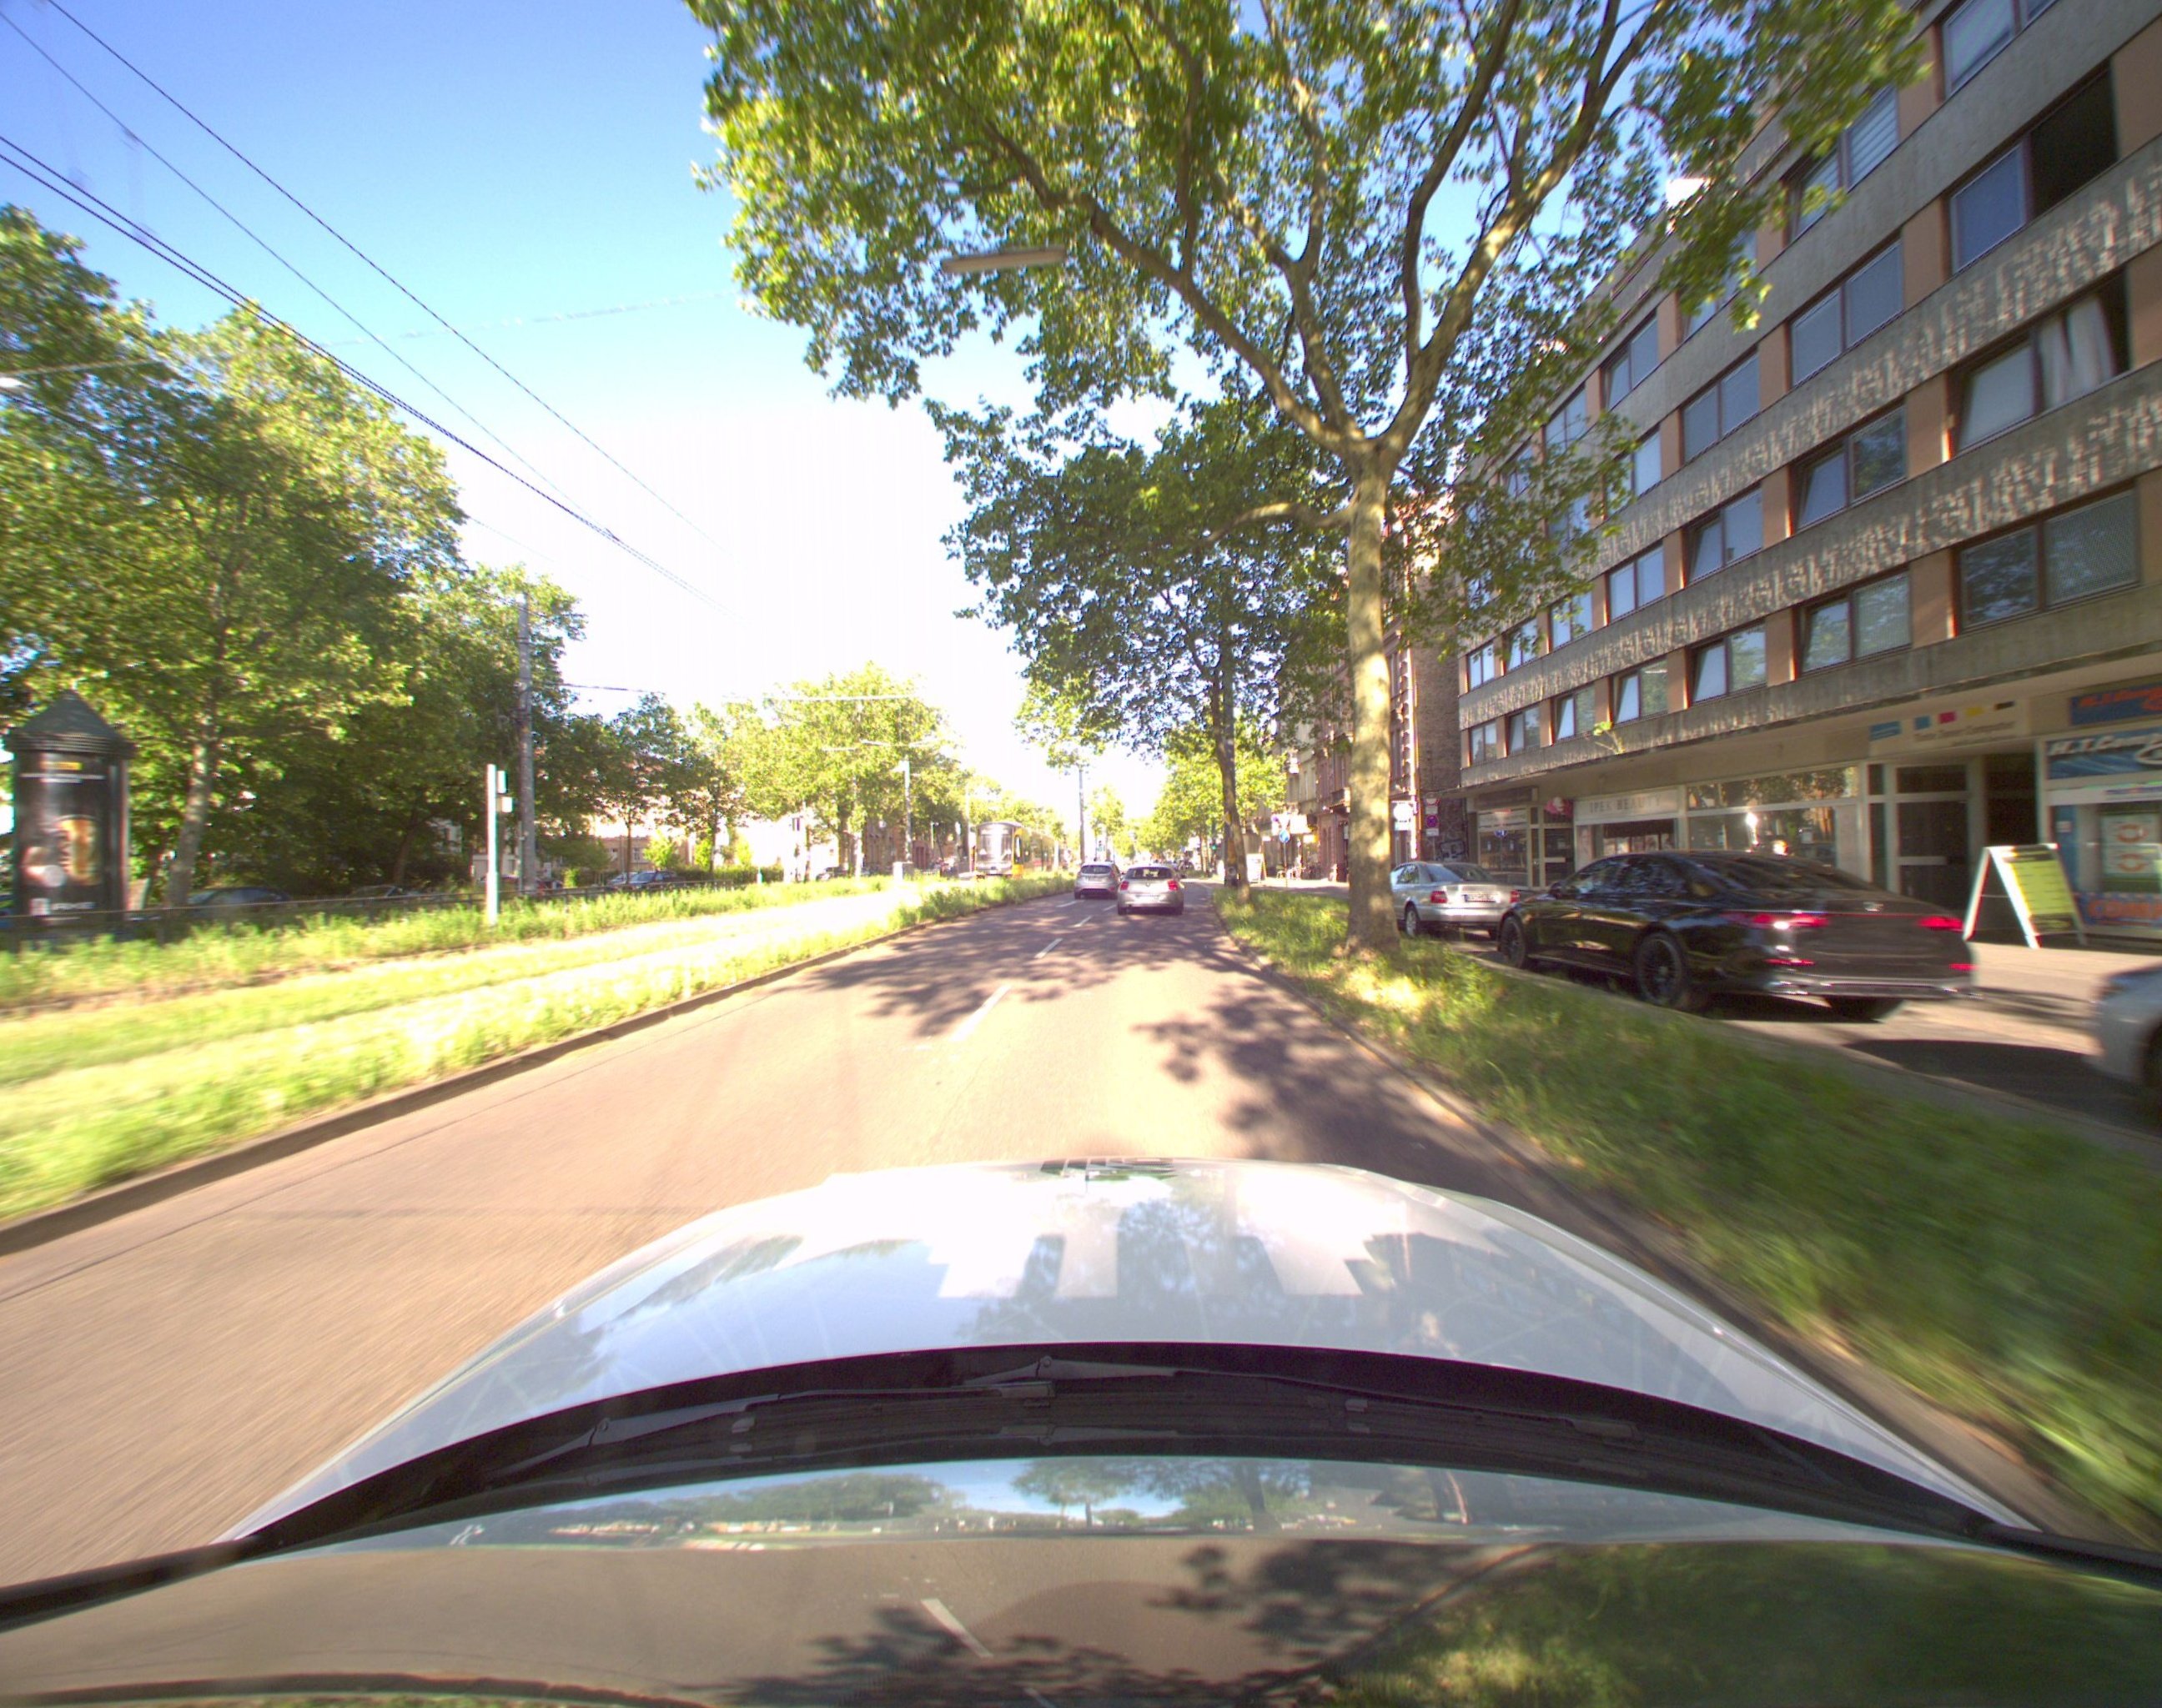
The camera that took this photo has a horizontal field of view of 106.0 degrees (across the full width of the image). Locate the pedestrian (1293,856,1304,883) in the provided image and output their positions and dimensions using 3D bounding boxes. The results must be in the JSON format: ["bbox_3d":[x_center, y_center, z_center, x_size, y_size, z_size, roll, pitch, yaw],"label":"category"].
[{"bbox_3d":[14.744,1.074,55.163,0.463,1.810,0.779,1,0,34],"label":"pedestrian"}]

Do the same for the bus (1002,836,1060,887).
[{"bbox_3d":[-3.547,0.523,60.874,2.857,3.444,12.225,-1,0,3],"label":"bus"}]

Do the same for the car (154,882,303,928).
[{"bbox_3d":[-25.173,1.468,24.179,1.395,1.200,2.846,-1,0,1],"label":"car"}]

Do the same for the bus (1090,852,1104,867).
[{"bbox_3d":[4.121,1.396,207.070,2.738,3.625,18.863,-1,0,3],"label":"bus"}]

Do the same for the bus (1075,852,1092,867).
[{"bbox_3d":[0.730,1.441,210.319,2.857,3.628,24.624,-1,0,3],"label":"bus"}]

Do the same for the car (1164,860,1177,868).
[{"bbox_3d":[15.917,1.782,144.596,1.985,1.509,4.601,1,-1,3],"label":"car"}]

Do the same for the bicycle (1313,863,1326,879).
[{"bbox_3d":[15.292,1.081,52.222,0.441,0.993,1.689,1,0,2],"label":"bicycle"}]

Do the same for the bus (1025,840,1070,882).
[{"bbox_3d":[-2.812,0.628,72.873,2.857,3.444,11.620,-1,0,3],"label":"bus"}]

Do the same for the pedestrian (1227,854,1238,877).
[{"bbox_3d":[13.614,1.029,72.995,0.877,2.013,0.858,1,0,6],"label":"pedestrian"}]

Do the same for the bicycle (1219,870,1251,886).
[{"bbox_3d":[10.021,1.570,52.953,1.996,0.993,0.444,1,0,0],"label":"bicycle"}]

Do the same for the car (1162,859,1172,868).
[{"bbox_3d":[15.841,1.744,149.970,1.662,1.551,4.004,1,0,3],"label":"car"}]

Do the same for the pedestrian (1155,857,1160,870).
[{"bbox_3d":[12.482,1.552,133.138,0.833,2.013,0.650,1,0,10],"label":"pedestrian"}]

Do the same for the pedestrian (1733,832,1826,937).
[{"bbox_3d":[12.127,0.514,14.156,0.995,1.760,0.716,1,0,3],"label":"pedestrian"}]

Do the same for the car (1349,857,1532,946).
[{"bbox_3d":[6.710,0.791,15.774,1.694,1.424,4.519,1,0,2],"label":"car"}]

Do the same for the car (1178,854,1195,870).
[{"bbox_3d":[13.361,0.953,103.080,1.747,1.965,4.741,-1,0,3],"label":"car"}]

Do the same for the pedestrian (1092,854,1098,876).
[{"bbox_3d":[1.242,0.973,70.924,0.450,1.903,0.584,0,-1,-4],"label":"pedestrian"}]

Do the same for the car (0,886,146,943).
[{"bbox_3d":[-25.445,1.447,19.827,1.401,1.228,3.360,-1,0,1],"label":"car"}]

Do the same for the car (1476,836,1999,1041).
[{"bbox_3d":[6.076,0.641,8.528,1.798,1.490,4.925,1,0,4],"label":"car"}]

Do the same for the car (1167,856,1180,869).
[{"bbox_3d":[13.418,1.211,118.444,1.685,1.658,4.042,-1,0,3],"label":"car"}]

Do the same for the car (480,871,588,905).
[{"bbox_3d":[-24.562,1.486,36.762,1.984,1.310,4.005,0,1,4],"label":"car"}]

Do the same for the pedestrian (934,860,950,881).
[{"bbox_3d":[-10.858,1.286,63.569,1.174,1.643,0.891,-1,-1,-5],"label":"pedestrian"}]

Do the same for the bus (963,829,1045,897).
[{"bbox_3d":[-4.225,0.491,48.286,2.857,3.444,13.227,-1,0,3],"label":"bus"}]

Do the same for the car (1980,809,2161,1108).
[{"bbox_3d":[6.083,0.511,2.476,1.671,1.466,4.672,1,0,2],"label":"car"}]

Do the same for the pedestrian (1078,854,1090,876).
[{"bbox_3d":[0.268,0.982,72.600,1.068,1.916,1.127,-1,-1,1],"label":"pedestrian"}]

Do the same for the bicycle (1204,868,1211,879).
[{"bbox_3d":[10.983,1.689,70.893,0.426,0.970,1.752,1,0,3],"label":"bicycle"}]

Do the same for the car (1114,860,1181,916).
[{"bbox_3d":[1.852,0.917,23.614,1.755,1.432,4.002,1,0,2],"label":"car"}]

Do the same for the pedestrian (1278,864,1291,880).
[{"bbox_3d":[14.983,1.347,59.894,0.774,1.161,0.466,1,0,-22],"label":"pedestrian"}]

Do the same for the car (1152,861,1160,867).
[{"bbox_3d":[17.683,2.353,192.136,1.693,1.534,3.720,1,0,3],"label":"car"}]

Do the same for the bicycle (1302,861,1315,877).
[{"bbox_3d":[15.400,1.004,55.212,0.441,0.993,1.689,1,0,2],"label":"bicycle"}]

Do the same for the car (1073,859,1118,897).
[{"bbox_3d":[0.639,0.911,32.498,1.640,1.363,3.763,1,0,3],"label":"car"}]
